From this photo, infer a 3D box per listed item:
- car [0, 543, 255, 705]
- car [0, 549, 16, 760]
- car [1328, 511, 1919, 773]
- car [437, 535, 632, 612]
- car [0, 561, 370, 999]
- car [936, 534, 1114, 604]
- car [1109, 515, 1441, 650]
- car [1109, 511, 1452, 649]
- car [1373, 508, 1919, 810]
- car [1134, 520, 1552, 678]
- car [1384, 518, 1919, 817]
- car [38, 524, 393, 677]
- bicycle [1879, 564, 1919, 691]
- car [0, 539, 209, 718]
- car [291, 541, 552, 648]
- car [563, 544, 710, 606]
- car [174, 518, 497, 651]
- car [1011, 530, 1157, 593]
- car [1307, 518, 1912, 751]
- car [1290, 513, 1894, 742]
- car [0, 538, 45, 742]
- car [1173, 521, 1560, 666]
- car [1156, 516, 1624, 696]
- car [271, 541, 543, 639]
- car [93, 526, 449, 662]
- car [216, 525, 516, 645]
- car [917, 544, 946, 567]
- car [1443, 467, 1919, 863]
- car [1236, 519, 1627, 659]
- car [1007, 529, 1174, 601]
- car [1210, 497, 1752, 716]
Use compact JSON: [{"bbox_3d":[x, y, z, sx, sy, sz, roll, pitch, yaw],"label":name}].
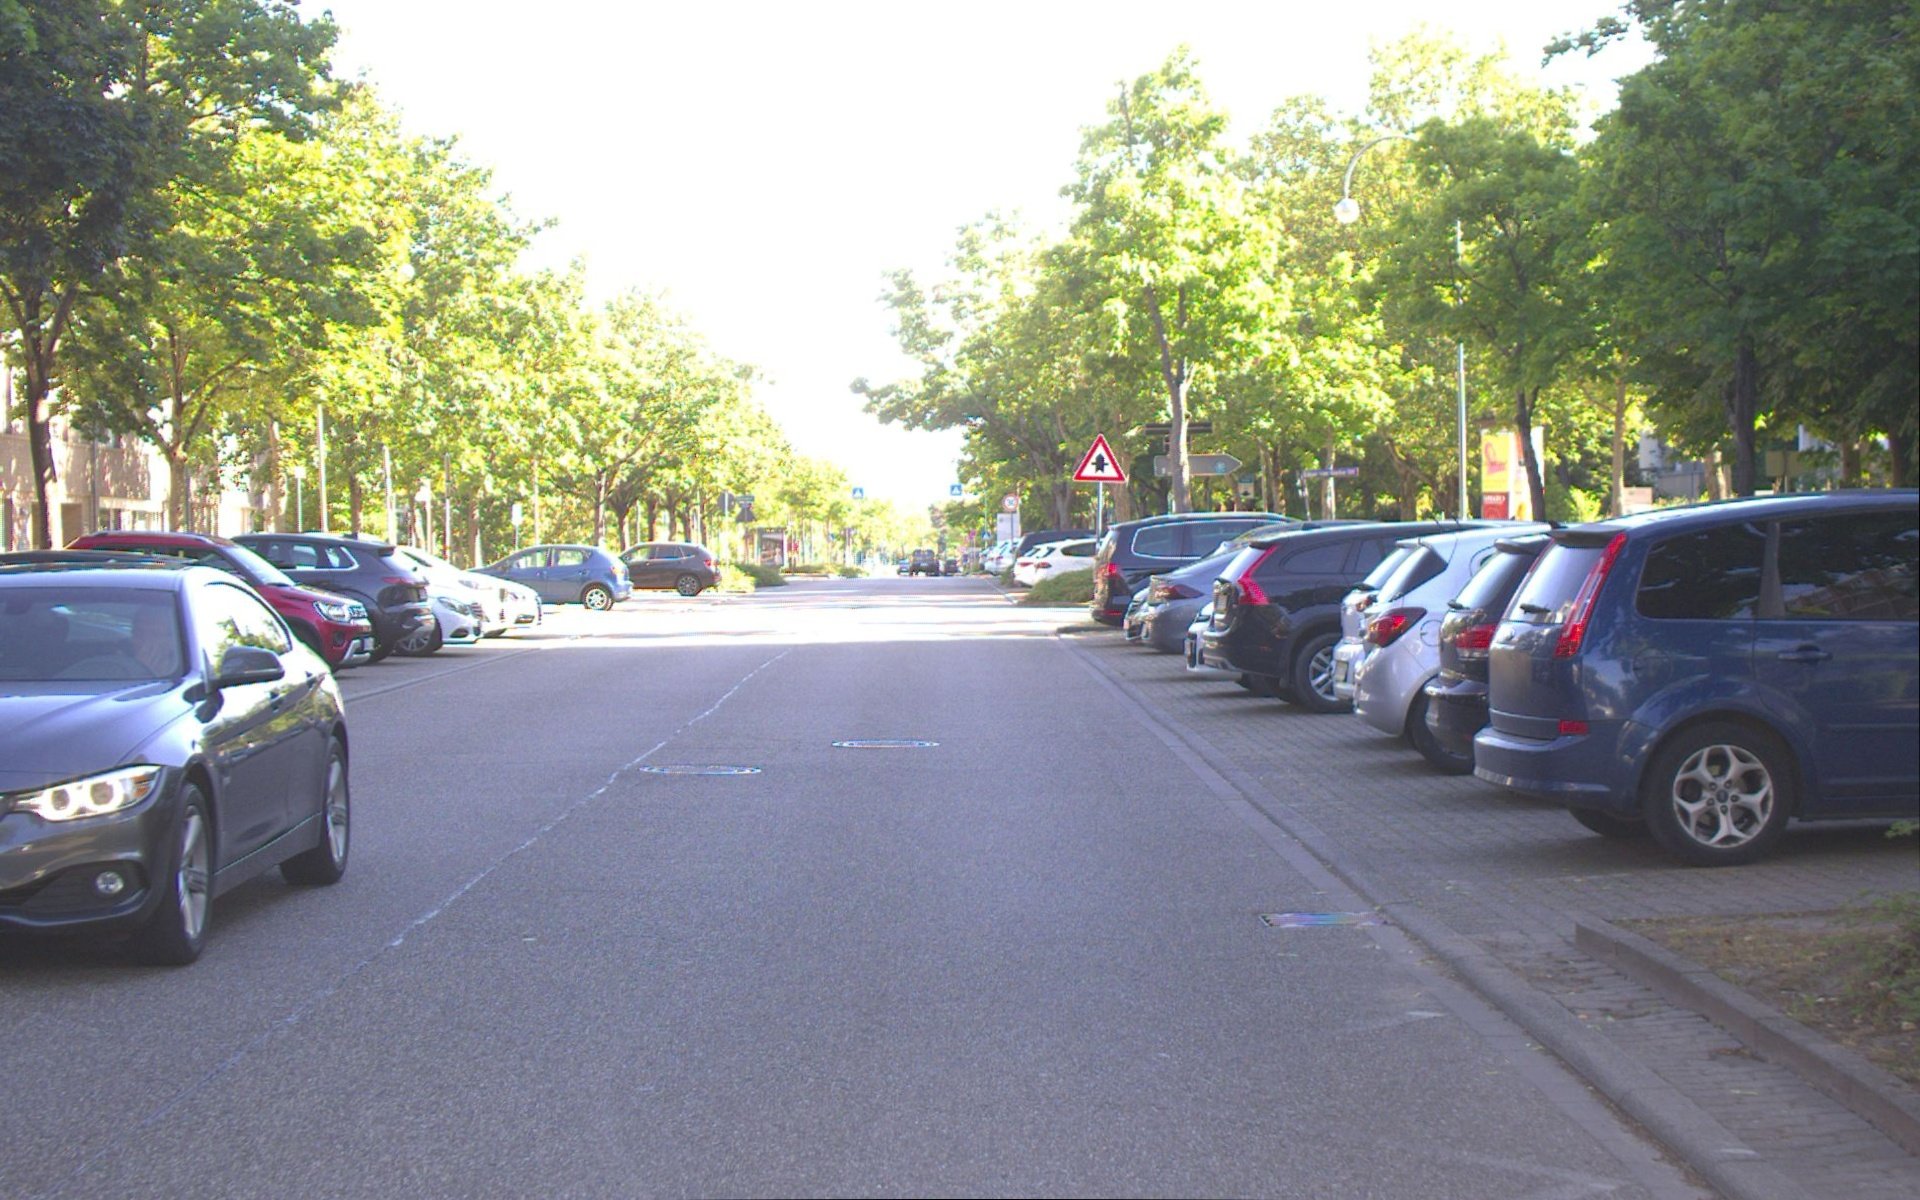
[{"bbox_3d":[-8.528,0.187,31.197,3.986,1.401,1.606,1,0,-4],"label":"car"},{"bbox_3d":[-8.565,0.371,23.332,3.865,1.452,1.755,1,2,-3],"label":"car"},{"bbox_3d":[4.214,0.234,21.321,3.635,1.462,1.633,-2,1,-1],"label":"car"},{"bbox_3d":[-8.969,-0.572,72.635,3.986,1.527,1.618,-1,1,-4],"label":"car"},{"bbox_3d":[-3.570,0.567,13.318,1.813,1.410,4.107,0,1,1],"label":"car"},{"bbox_3d":[1.508,-0.742,81.036,3.986,1.619,2.000,0,1,-5],"label":"car"},{"bbox_3d":[3.936,-0.232,43.336,3.892,1.650,1.858,0,1,-5],"label":"car"},{"bbox_3d":[3.986,-0.256,43.132,4.043,1.576,1.641,-2,0,-3],"label":"car"},{"bbox_3d":[4.327,0.277,18.765,3.882,1.521,1.895,-1,1,0],"label":"car"},{"bbox_3d":[3.901,-0.025,35.390,4.043,1.486,1.550,-2,1,-3],"label":"car"},{"bbox_3d":[4.287,0.317,18.574,3.740,1.462,1.911,-2,1,1],"label":"car"},{"bbox_3d":[-8.235,0.005,38.238,3.541,1.651,1.761,0,0,1],"label":"car"},{"bbox_3d":[8.475,0.237,29.073,0.379,1.074,1.788,-1,1,-21],"label":"bicycle"},{"bbox_3d":[-8.350,0.200,28.288,3.986,1.408,1.666,1,0,-2],"label":"car"},{"bbox_3d":[-8.275,-0.093,53.088,3.892,1.606,1.858,0,1,-6],"label":"car"},{"bbox_3d":[-9.154,-0.715,97.480,3.987,1.678,2.000,-1,1,-1],"label":"car"},{"bbox_3d":[-8.231,-0.214,45.521,3.986,1.714,1.709,0,1,-1],"label":"car"},{"bbox_3d":[3.567,-1.111,99.436,3.986,1.786,2.000,0,1,-5],"label":"car"},{"bbox_3d":[4.447,0.219,23.921,3.752,1.444,1.880,-2,0,-3],"label":"car"},{"bbox_3d":[4.375,0.174,24.272,3.866,1.463,1.967,-1,1,0],"label":"car"},{"bbox_3d":[-8.728,0.247,25.665,3.418,1.458,1.697,1,2,-5],"label":"car"},{"bbox_3d":[4.485,-0.079,38.246,4.043,1.449,1.519,-2,0,-3],"label":"car"},{"bbox_3d":[3.952,0.033,31.872,4.043,1.585,1.550,-1,1,-7],"label":"car"},{"bbox_3d":[-8.549,-0.169,53.350,3.986,1.476,1.680,0,1,-2],"label":"car"},{"bbox_3d":[-8.485,-0.074,42.540,3.987,1.581,1.765,-1,0,3],"label":"car"},{"bbox_3d":[-8.652,-0.227,50.277,3.987,1.648,1.860,-1,1,2],"label":"car"},{"bbox_3d":[-2.004,-3.099,240.100,1.933,1.592,4.366,-1,1,-1],"label":"car"},{"bbox_3d":[4.481,0.231,15.472,4.267,1.628,1.858,-1,1,-3],"label":"car"},{"bbox_3d":[5.255,-0.133,38.647,4.043,1.416,1.737,-2,0,-4],"label":"car"},{"bbox_3d":[3.291,-0.903,87.241,3.986,1.786,2.000,0,1,-5],"label":"car"},{"bbox_3d":[4.251,0.044,28.617,4.249,1.549,1.919,-3,1,4],"label":"car"}]
